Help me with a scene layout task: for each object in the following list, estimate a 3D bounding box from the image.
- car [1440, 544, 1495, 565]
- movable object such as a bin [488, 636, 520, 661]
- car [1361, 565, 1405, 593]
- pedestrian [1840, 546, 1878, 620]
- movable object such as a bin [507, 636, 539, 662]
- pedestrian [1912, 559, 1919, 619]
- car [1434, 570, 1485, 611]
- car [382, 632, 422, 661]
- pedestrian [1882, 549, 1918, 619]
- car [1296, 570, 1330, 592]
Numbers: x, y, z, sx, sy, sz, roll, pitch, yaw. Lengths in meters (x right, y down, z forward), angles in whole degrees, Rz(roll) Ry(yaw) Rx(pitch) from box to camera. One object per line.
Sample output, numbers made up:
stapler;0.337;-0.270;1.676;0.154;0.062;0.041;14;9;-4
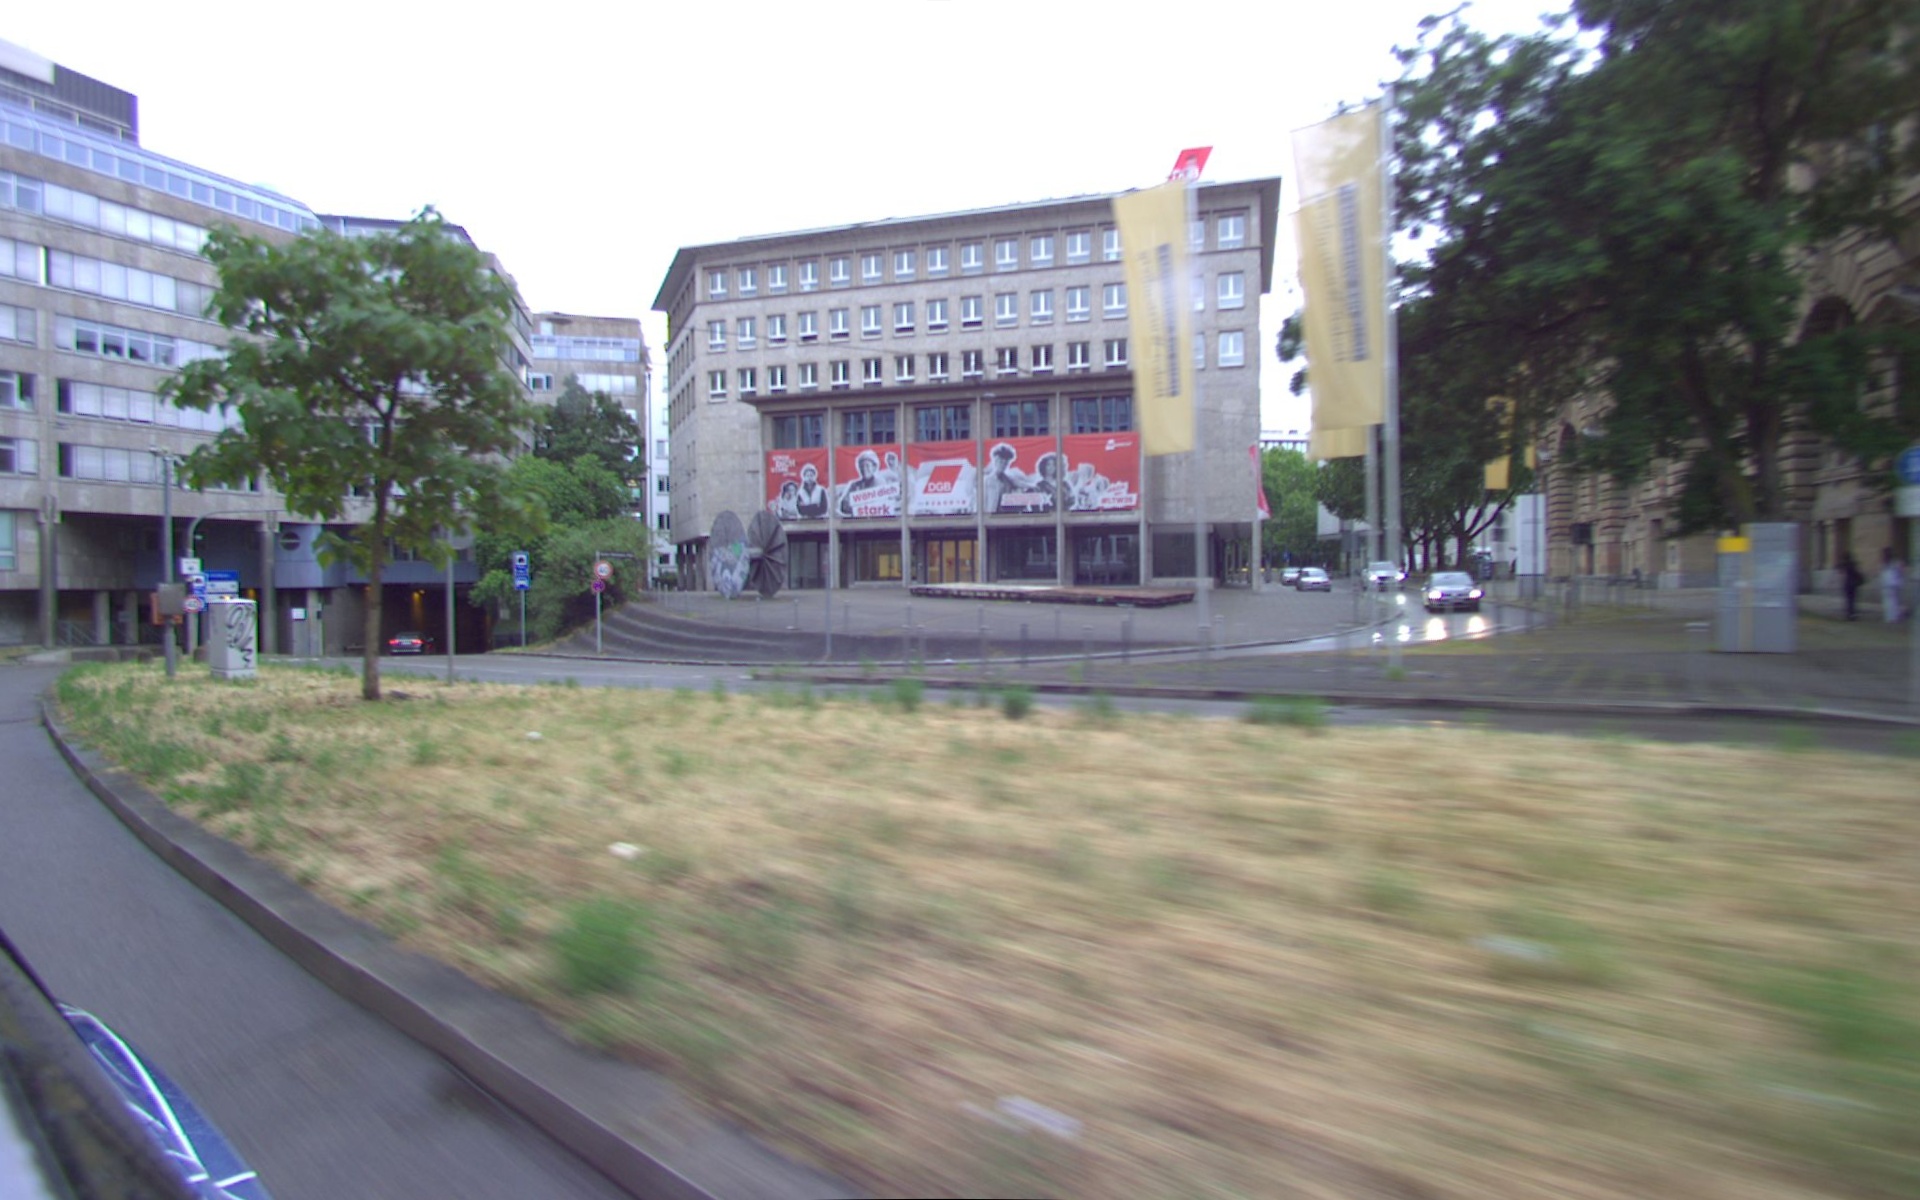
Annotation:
car;56.515;-5.017;112.903;2.278;1.972;6.303;-2;0;-7
movable object such as a bin;-27.249;2.916;60.534;1.328;1.461;1.162;-1;-1;15
car;25.495;-1.245;61.067;1.983;1.568;4.190;-2;0;17
pedestrian;20.448;-0.383;23.025;0.495;1.636;0.385;-2;0;17
movable object such as a bin;-25.882;2.905;59.992;1.200;1.461;1.286;-1;-1;23
pedestrian;21.876;-0.258;22.665;0.639;1.355;0.439;-2;0;17
car;18.744;-0.359;38.082;1.611;1.414;3.591;-2;0;26
car;-32.237;2.648;58.523;1.965;1.504;4.857;0;-1;-28
pedestrian;21.190;-0.358;22.815;0.438;1.540;0.385;-2;0;16
car;21.193;-1.128;60.837;1.604;1.257;3.605;-2;0;15
